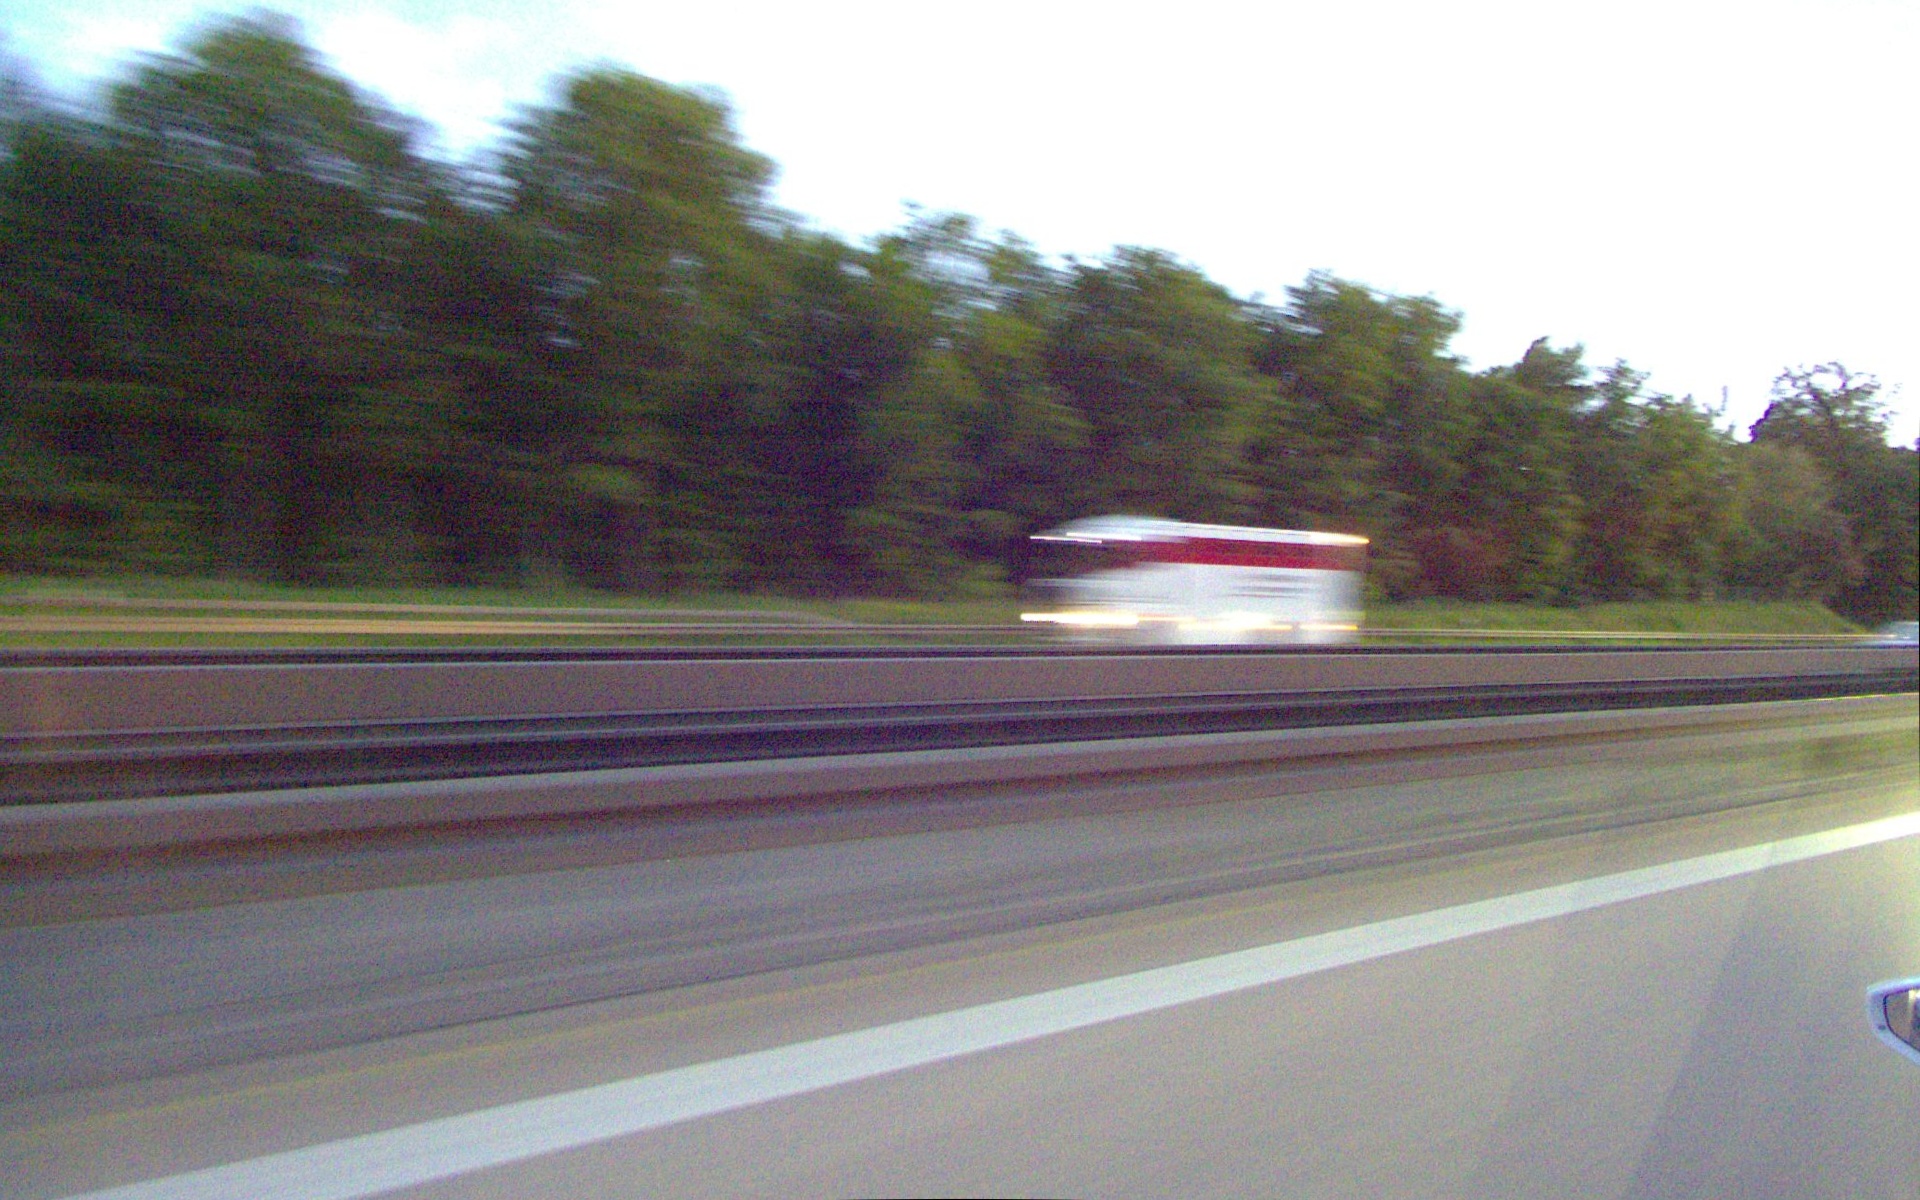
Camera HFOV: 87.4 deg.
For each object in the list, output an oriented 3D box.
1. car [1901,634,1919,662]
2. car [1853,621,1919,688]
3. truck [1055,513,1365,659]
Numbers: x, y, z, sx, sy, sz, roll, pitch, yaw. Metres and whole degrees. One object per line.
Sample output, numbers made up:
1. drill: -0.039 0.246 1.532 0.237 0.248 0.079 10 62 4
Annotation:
1. car: 55.606 2.748 57.021 4.536 1.517 1.843 1 0 -28
2. car: 25.517 1.389 26.258 4.768 1.621 1.983 1 0 -32
3. truck: 8.059 -0.276 31.603 10.415 4.064 2.633 1 0 -29
